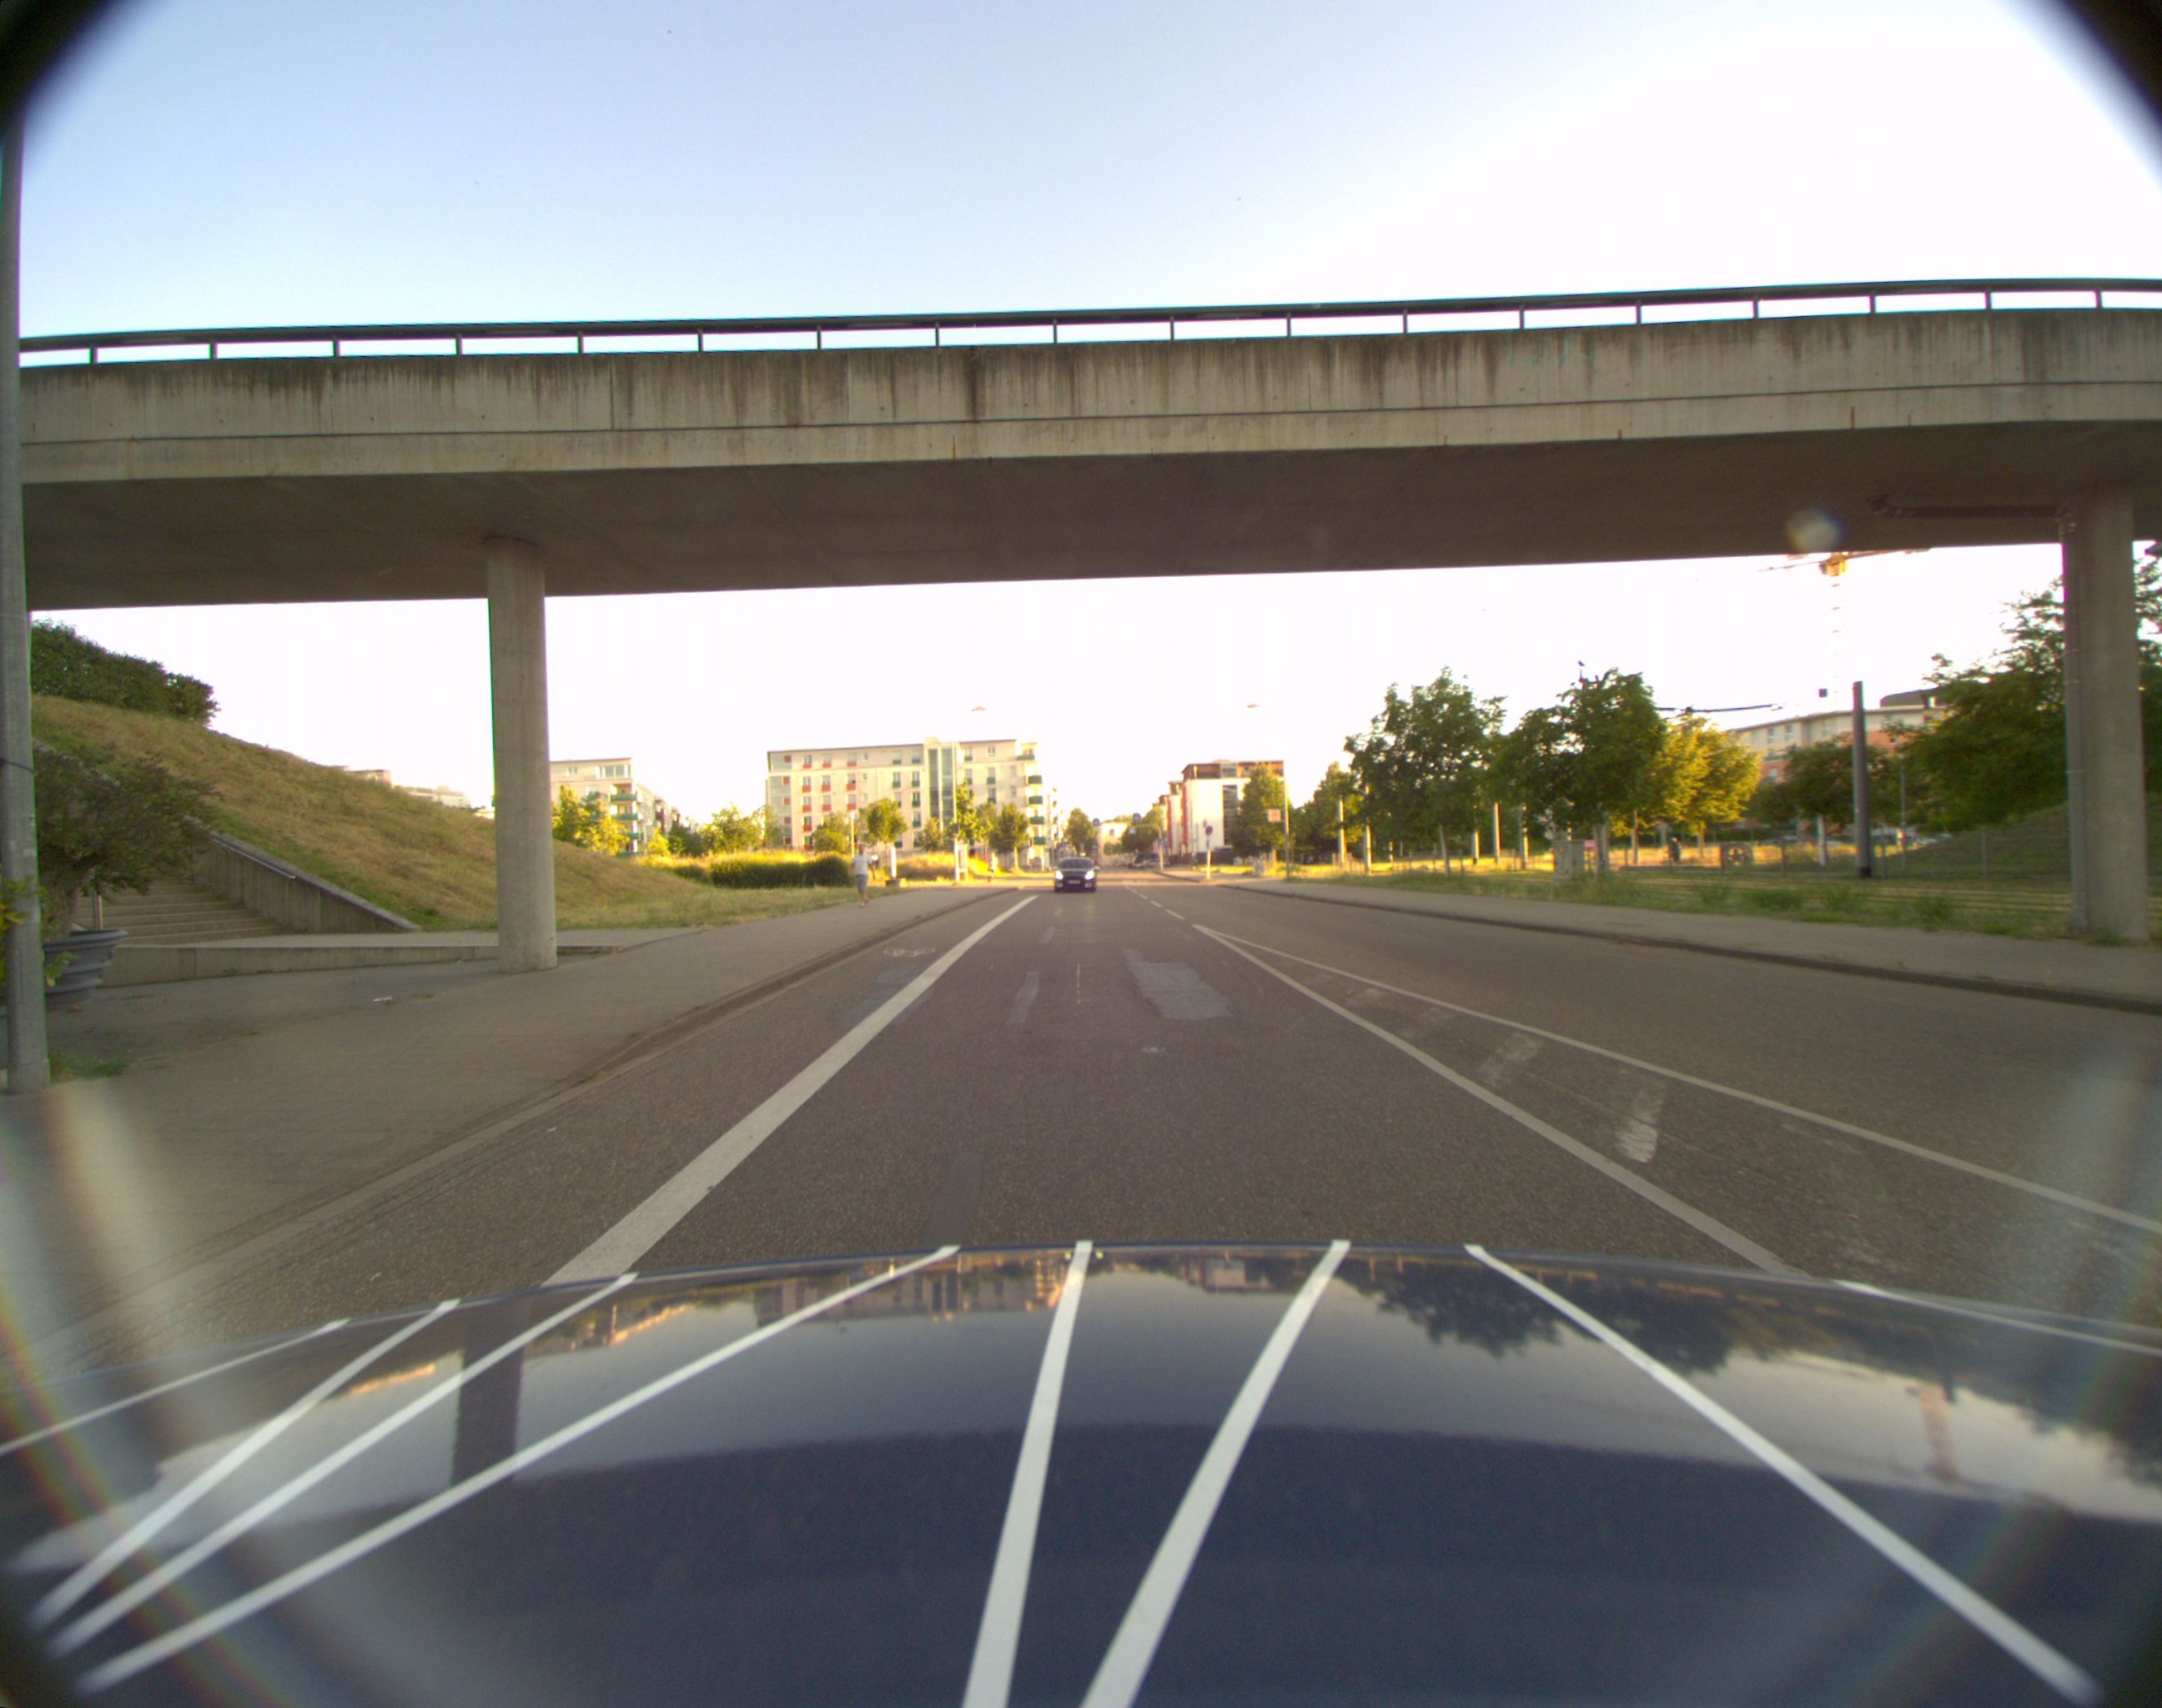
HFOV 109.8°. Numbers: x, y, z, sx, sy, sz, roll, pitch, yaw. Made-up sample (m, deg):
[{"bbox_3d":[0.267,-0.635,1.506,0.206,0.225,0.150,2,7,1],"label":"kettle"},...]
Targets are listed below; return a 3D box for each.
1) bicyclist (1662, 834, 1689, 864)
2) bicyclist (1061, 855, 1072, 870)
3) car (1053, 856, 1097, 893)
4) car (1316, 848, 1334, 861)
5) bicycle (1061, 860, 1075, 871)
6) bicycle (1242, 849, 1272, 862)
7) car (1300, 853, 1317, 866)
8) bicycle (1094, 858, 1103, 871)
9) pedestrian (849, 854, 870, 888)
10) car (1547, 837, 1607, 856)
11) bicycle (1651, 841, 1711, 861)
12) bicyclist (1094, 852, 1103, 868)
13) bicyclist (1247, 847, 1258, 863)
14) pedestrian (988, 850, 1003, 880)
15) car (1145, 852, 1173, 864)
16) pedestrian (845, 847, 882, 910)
[{"bbox_3d":[32.506,-0.280,41.550,0.910,1.622,0.717,-2,0,-4],"label":"bicyclist"},{"bbox_3d":[-1.538,0.910,80.601,0.933,1.585,1.067,-2,0,-7],"label":"bicyclist"},{"bbox_3d":[-0.216,0.841,32.709,1.739,1.455,4.000,-2,0,1],"label":"car"},{"bbox_3d":[31.052,0.009,96.759,1.942,1.521,4.004,-2,0,14],"label":"car"},{"bbox_3d":[-1.415,1.209,80.417,0.901,1.142,3.495,-2,0,-11],"label":"bicycle"},{"bbox_3d":[21.153,0.176,91.420,3.319,1.483,0.887,-2,0,-2],"label":"bicycle"},{"bbox_3d":[29.071,0.691,97.179,1.942,1.521,4.004,-2,0,14],"label":"car"},{"bbox_3d":[1.757,1.066,77.575,0.662,1.217,2.438,-2,0,-5],"label":"bicycle"},{"bbox_3d":[-10.915,0.822,37.421,0.737,1.620,0.859,0,0,2],"label":"pedestrian"},{"bbox_3d":[57.676,-0.810,88.451,5.519,2.002,2.001,-2,0,7],"label":"car"},{"bbox_3d":[32.717,-0.156,41.465,2.842,1.002,0.655,-2,0,-3],"label":"bicycle"},{"bbox_3d":[1.781,0.641,77.476,0.697,1.630,0.851,-2,0,-5],"label":"bicyclist"},{"bbox_3d":[20.667,0.159,91.386,1.034,1.865,0.883,-1,1,-4],"label":"bicyclist"},{"bbox_3d":[-4.862,0.617,43.190,0.737,1.714,0.532,0,0,1],"label":"pedestrian"},{"bbox_3d":[11.660,0.558,113.875,3.996,1.718,2.000,-2,0,2],"label":"car"},{"bbox_3d":[-6.013,0.657,21.026,0.737,1.714,0.906,0,0,1],"label":"pedestrian"}]
